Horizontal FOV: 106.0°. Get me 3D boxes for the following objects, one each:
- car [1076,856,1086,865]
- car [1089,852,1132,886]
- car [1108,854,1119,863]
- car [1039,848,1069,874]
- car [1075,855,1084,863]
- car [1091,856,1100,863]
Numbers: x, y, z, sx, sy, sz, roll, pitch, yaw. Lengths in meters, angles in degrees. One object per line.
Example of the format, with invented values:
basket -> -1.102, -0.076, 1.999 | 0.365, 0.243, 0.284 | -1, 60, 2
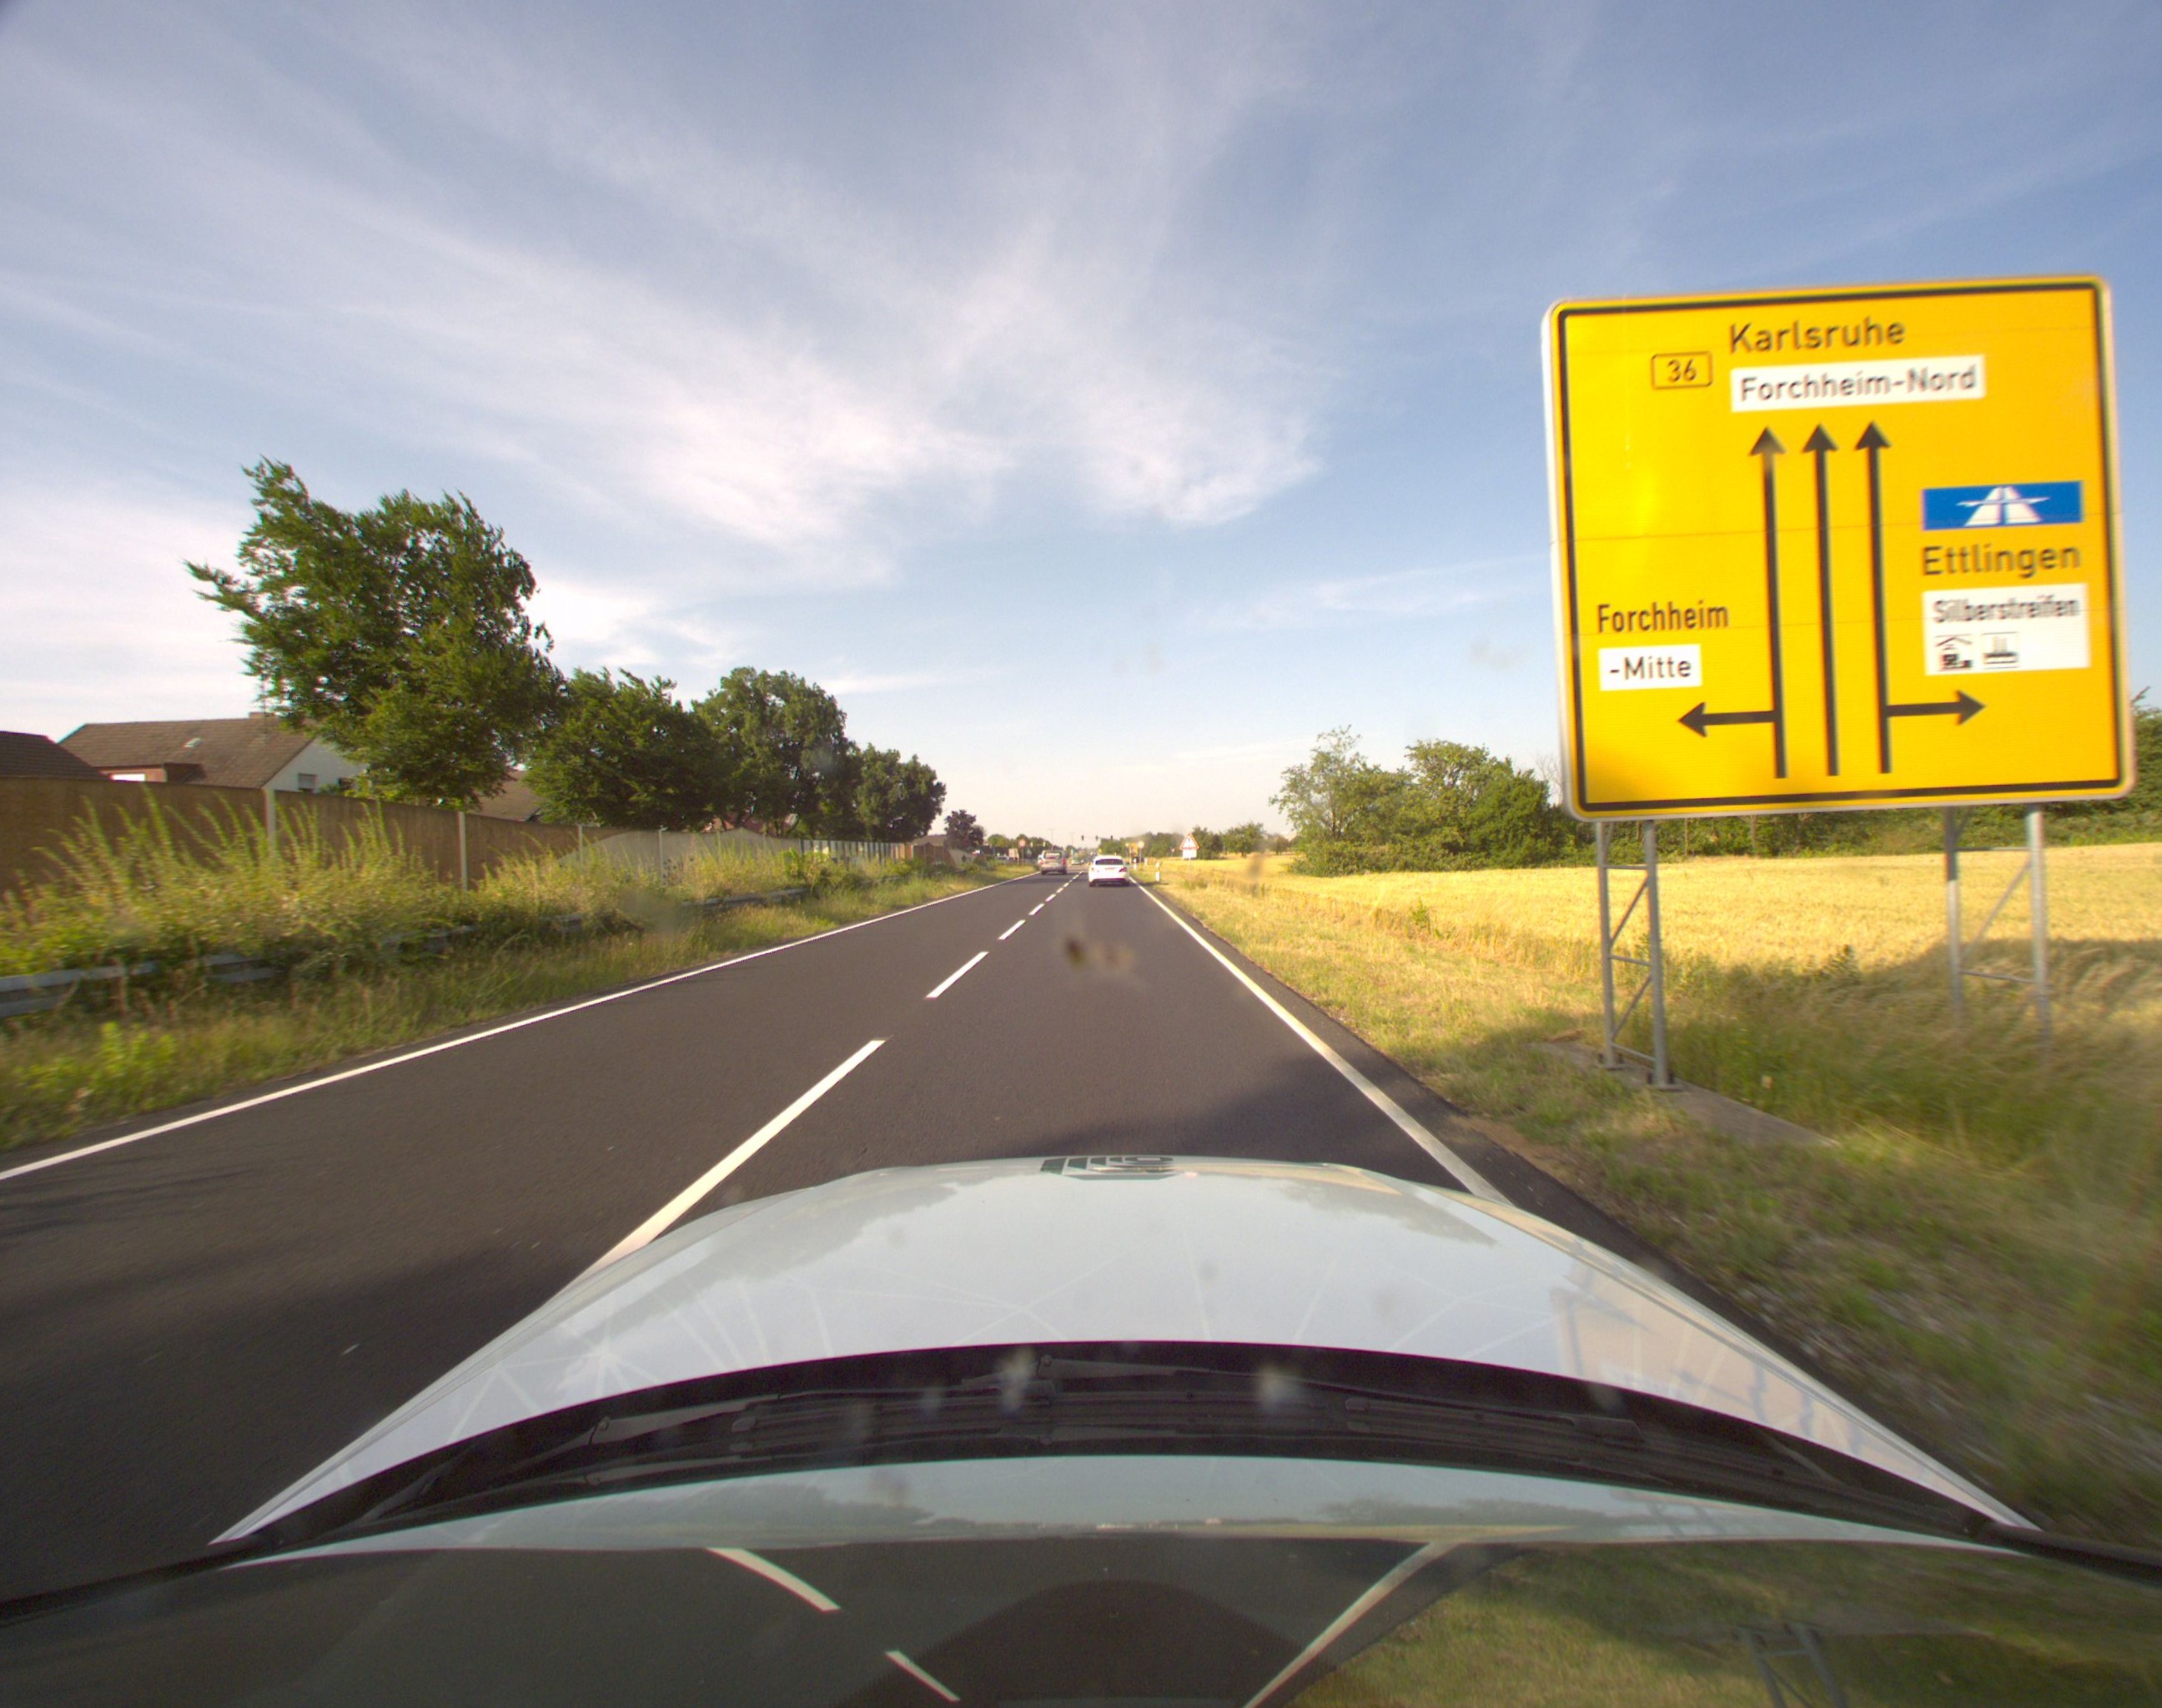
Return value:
car -> 0.017, 1.069, 140.412 | 1.711, 1.492, 3.585 | 0, 0, 1
car -> 1.370, 0.686, 38.698 | 1.888, 1.509, 4.000 | -1, 0, 1
car -> 5.789, 0.838, 144.927 | 1.747, 1.517, 4.001 | -2, 0, 2
car -> -2.053, 0.504, 62.917 | 2.017, 1.891, 4.960 | 0, 0, 2
car -> -0.333, 1.128, 175.250 | 1.771, 1.665, 3.660 | 0, 0, -2
car -> 3.319, 1.313, 189.084 | 1.831, 1.684, 4.004 | 0, 0, 3
